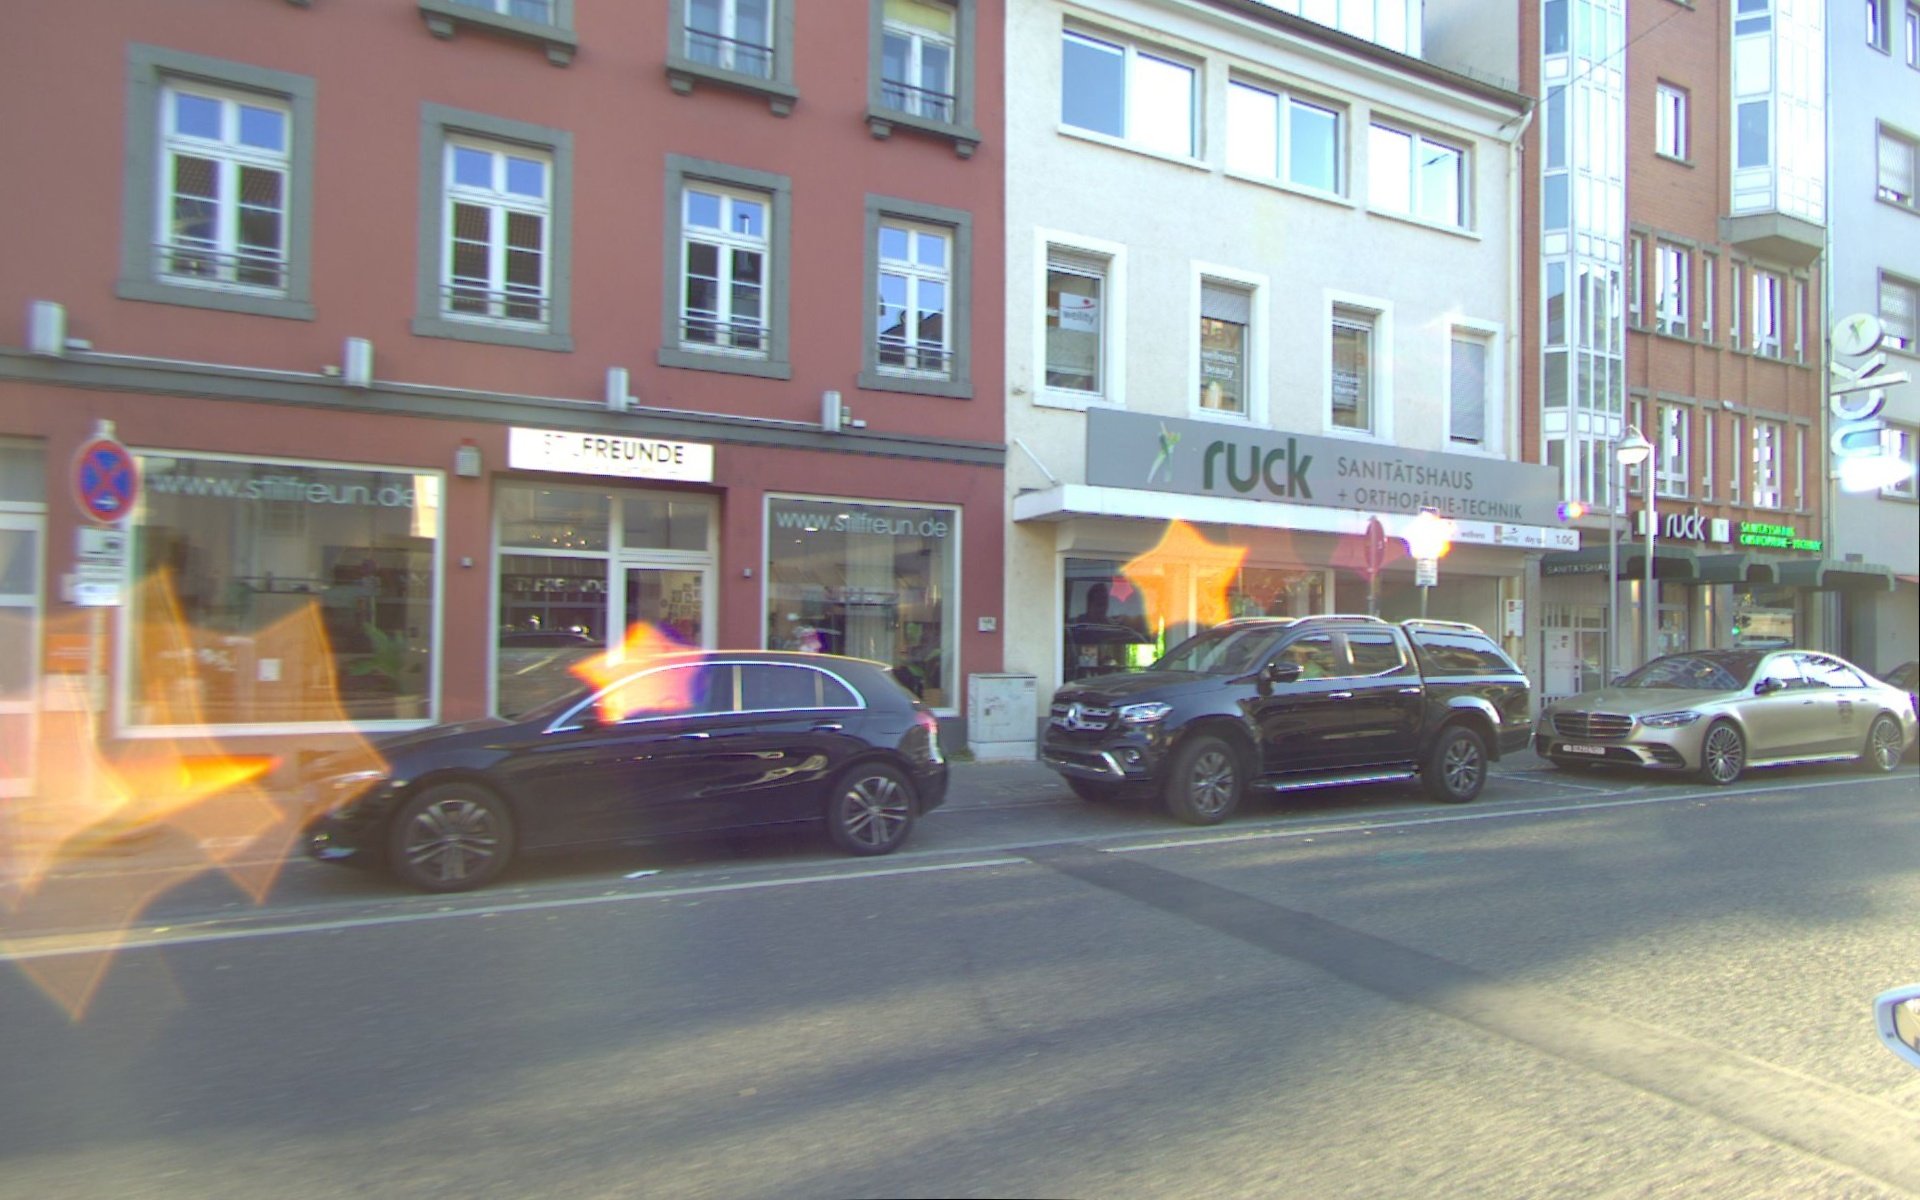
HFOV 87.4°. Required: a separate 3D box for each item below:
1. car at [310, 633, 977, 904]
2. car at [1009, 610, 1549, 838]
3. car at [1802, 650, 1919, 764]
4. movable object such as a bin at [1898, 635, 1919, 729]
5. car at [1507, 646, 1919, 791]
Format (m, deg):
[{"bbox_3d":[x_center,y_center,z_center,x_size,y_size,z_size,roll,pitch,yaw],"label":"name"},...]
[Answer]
[{"bbox_3d":[-2.120,1.040,7.364,4.159,1.530,1.762,2,-3,-24],"label":"car"},{"bbox_3d":[3.245,1.089,10.007,5.230,1.792,1.987,2,-3,-27],"label":"car"},{"bbox_3d":[14.880,1.522,14.899,4.576,1.530,1.910,2,-3,-25],"label":"car"},{"bbox_3d":[18.192,1.532,18.224,1.351,1.695,1.275,2,1,-27],"label":"movable object such as a bin"},{"bbox_3d":[9.467,1.353,12.557,5.042,1.530,1.989,2,-3,-24],"label":"car"}]
